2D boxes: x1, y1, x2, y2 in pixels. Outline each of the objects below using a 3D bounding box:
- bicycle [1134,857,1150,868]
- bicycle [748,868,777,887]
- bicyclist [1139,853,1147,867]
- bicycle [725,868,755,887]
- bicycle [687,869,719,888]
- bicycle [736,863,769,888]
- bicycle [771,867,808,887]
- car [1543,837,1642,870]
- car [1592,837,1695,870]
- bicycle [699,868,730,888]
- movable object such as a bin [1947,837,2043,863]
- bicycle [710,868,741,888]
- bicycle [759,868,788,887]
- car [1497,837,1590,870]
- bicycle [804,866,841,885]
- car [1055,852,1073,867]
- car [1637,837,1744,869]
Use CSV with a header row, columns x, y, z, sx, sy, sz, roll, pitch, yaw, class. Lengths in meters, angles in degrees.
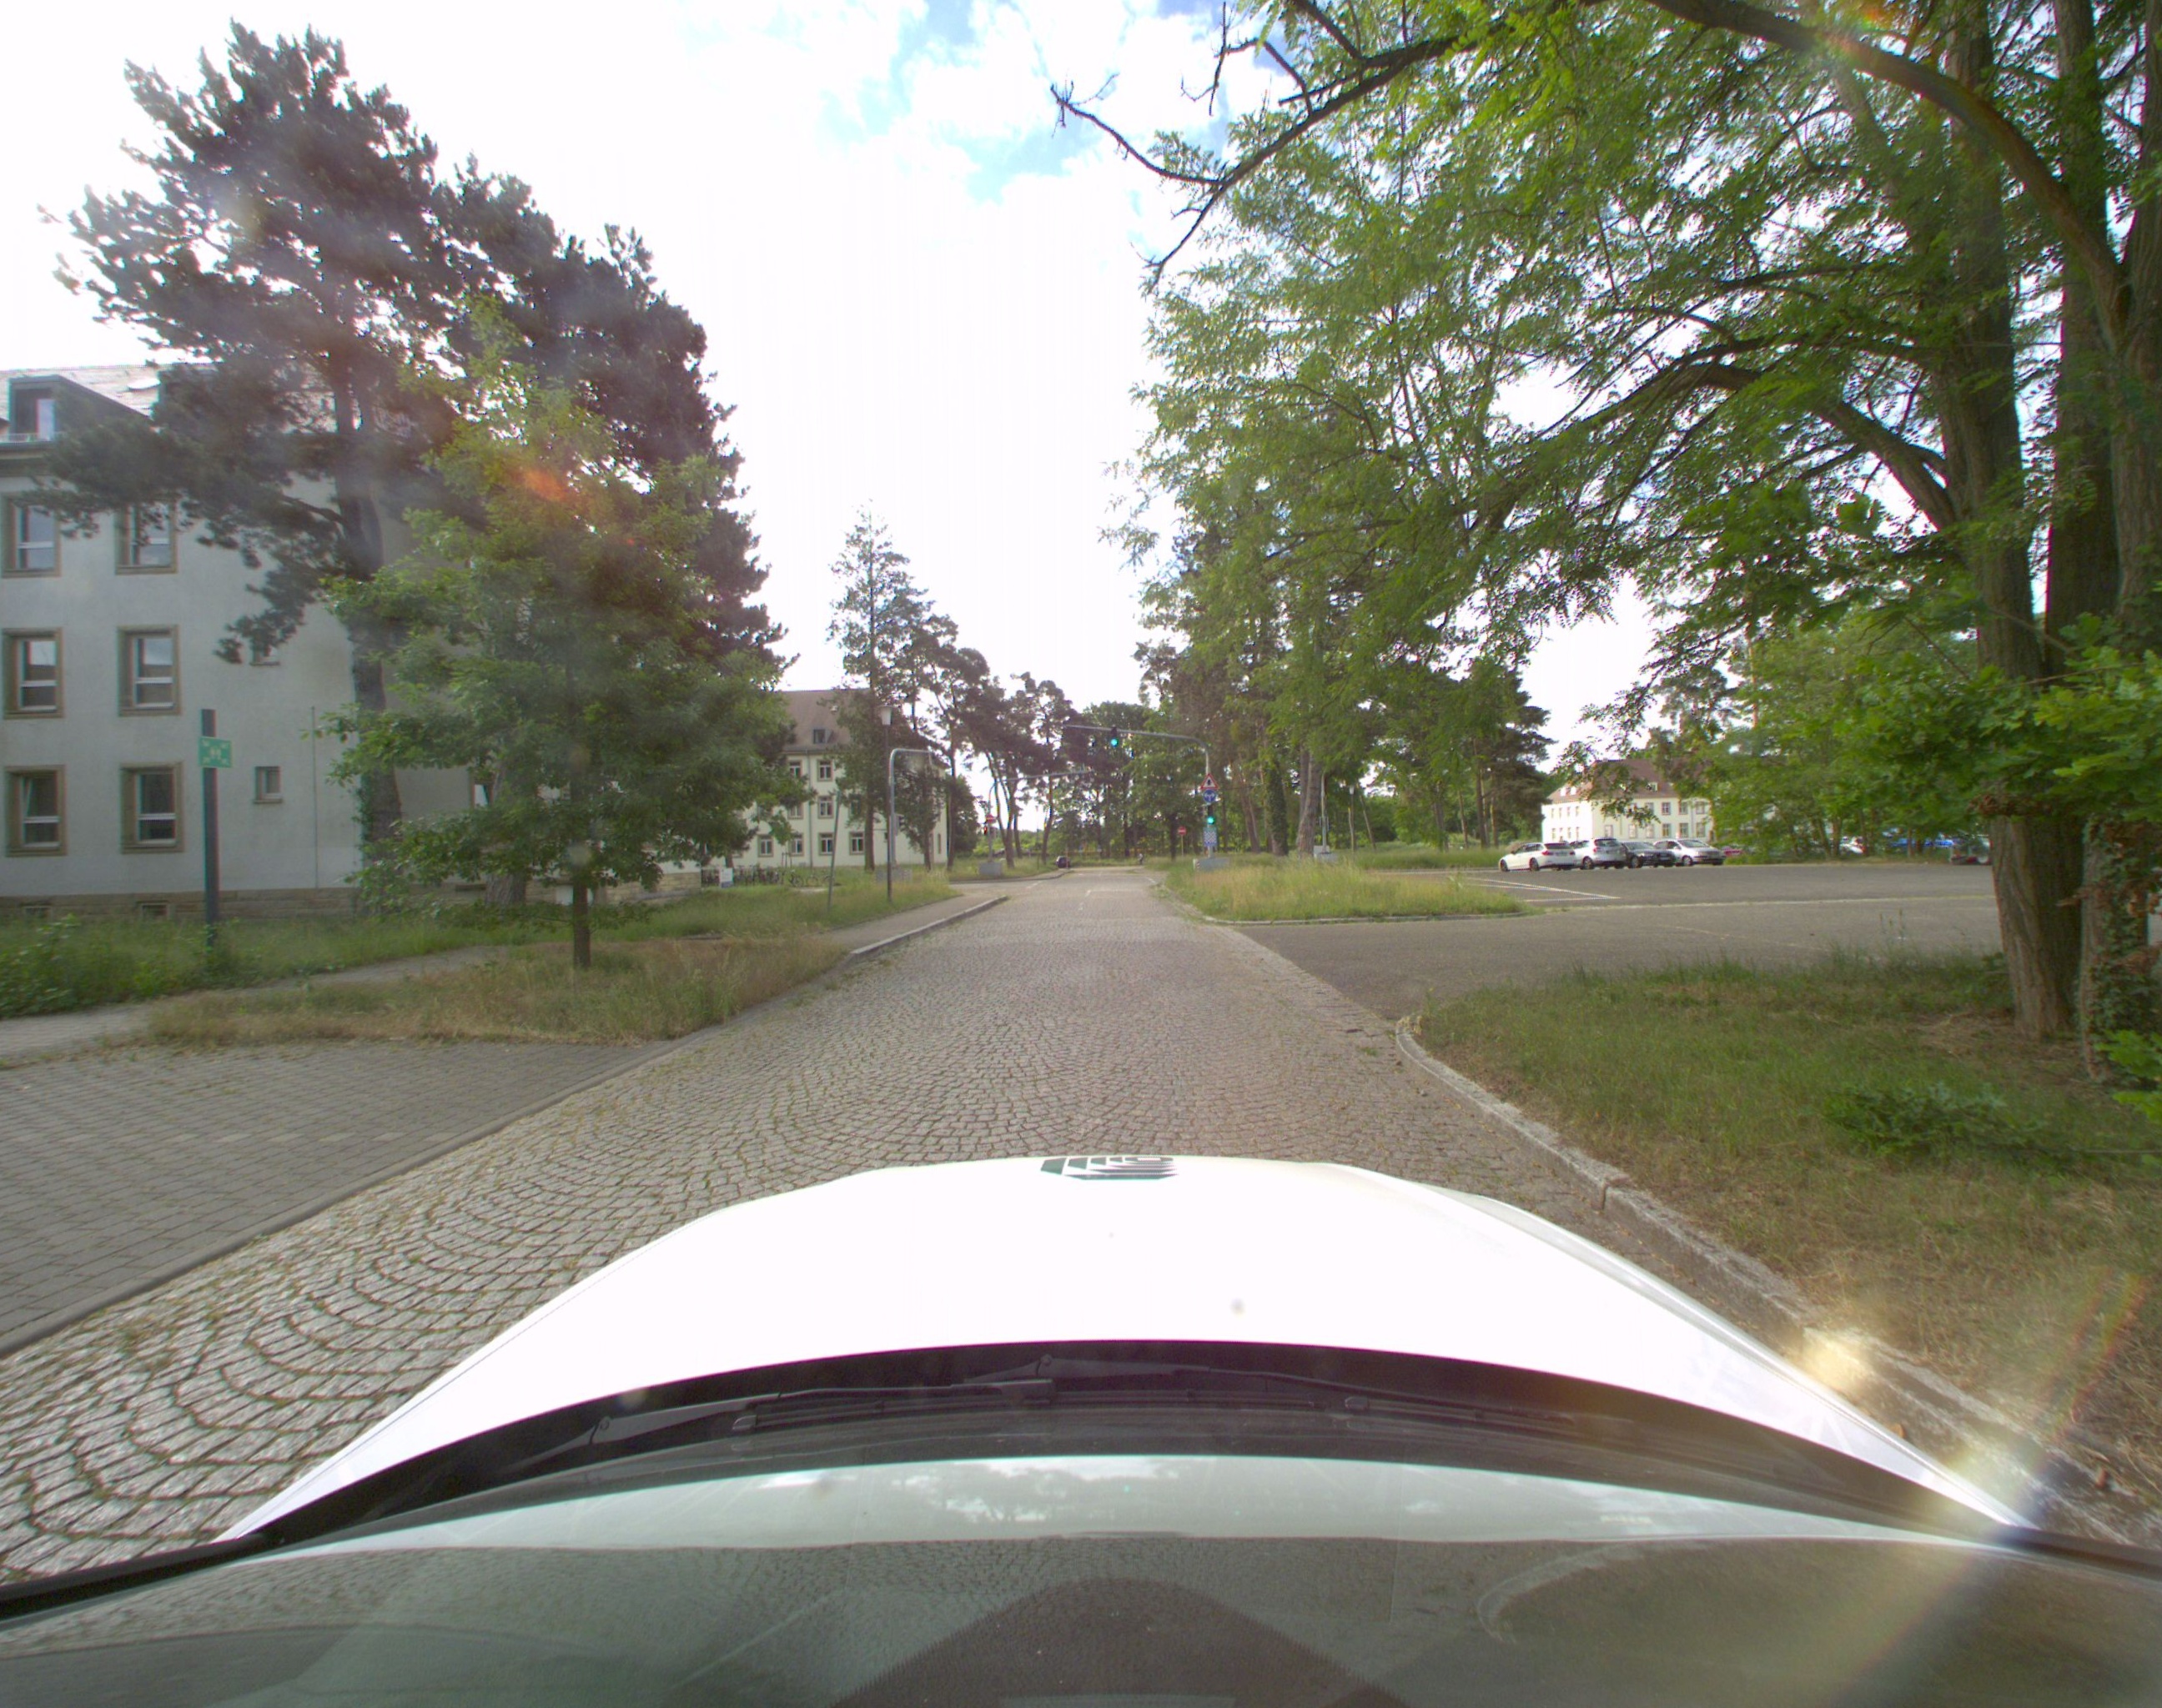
x,y,z,sx,sy,sz,roll,pitch,yaw,class
7.484,1.008,99.703,1.976,1.320,0.514,0,-1,-21,bicycle
-19.042,1.401,48.678,0.733,1.076,2.274,-2,0,2,bicycle
7.609,0.698,99.739,0.752,1.671,0.522,0,-1,-22,bicyclist
-20.568,1.425,49.177,0.733,1.076,2.274,-2,0,2,bicycle
-22.663,1.441,48.880,0.733,1.076,2.274,-2,0,2,bicycle
-19.776,1.273,49.051,0.733,1.385,2.713,-2,0,2,bicycle
-16.958,1.328,47.460,1.848,1.076,0.739,-2,0,3,bicycle
25.331,0.015,40.538,1.988,1.481,4.422,-2,-2,-2,car
28.001,0.011,40.772,1.988,1.481,4.422,-2,-2,-2,car
-21.958,1.432,48.786,0.733,1.076,2.274,-2,0,2,bicycle
31.227,-0.120,27.864,1.179,0.825,1.957,-2,0,6,movable object such as a bin
-21.229,1.415,48.698,0.733,1.076,2.274,-2,0,2,bicycle
-18.400,1.378,48.744,0.733,1.076,2.274,-2,0,2,bicycle
22.816,0.020,40.414,1.988,1.481,4.422,-2,-2,-2,car
-15.076,1.256,47.458,1.848,1.076,0.832,-2,0,3,bicycle
-2.150,0.723,104.542,2.048,1.846,4.001,-2,0,1,car
30.677,-0.013,41.190,1.988,1.523,4.422,0,-2,-2,car
